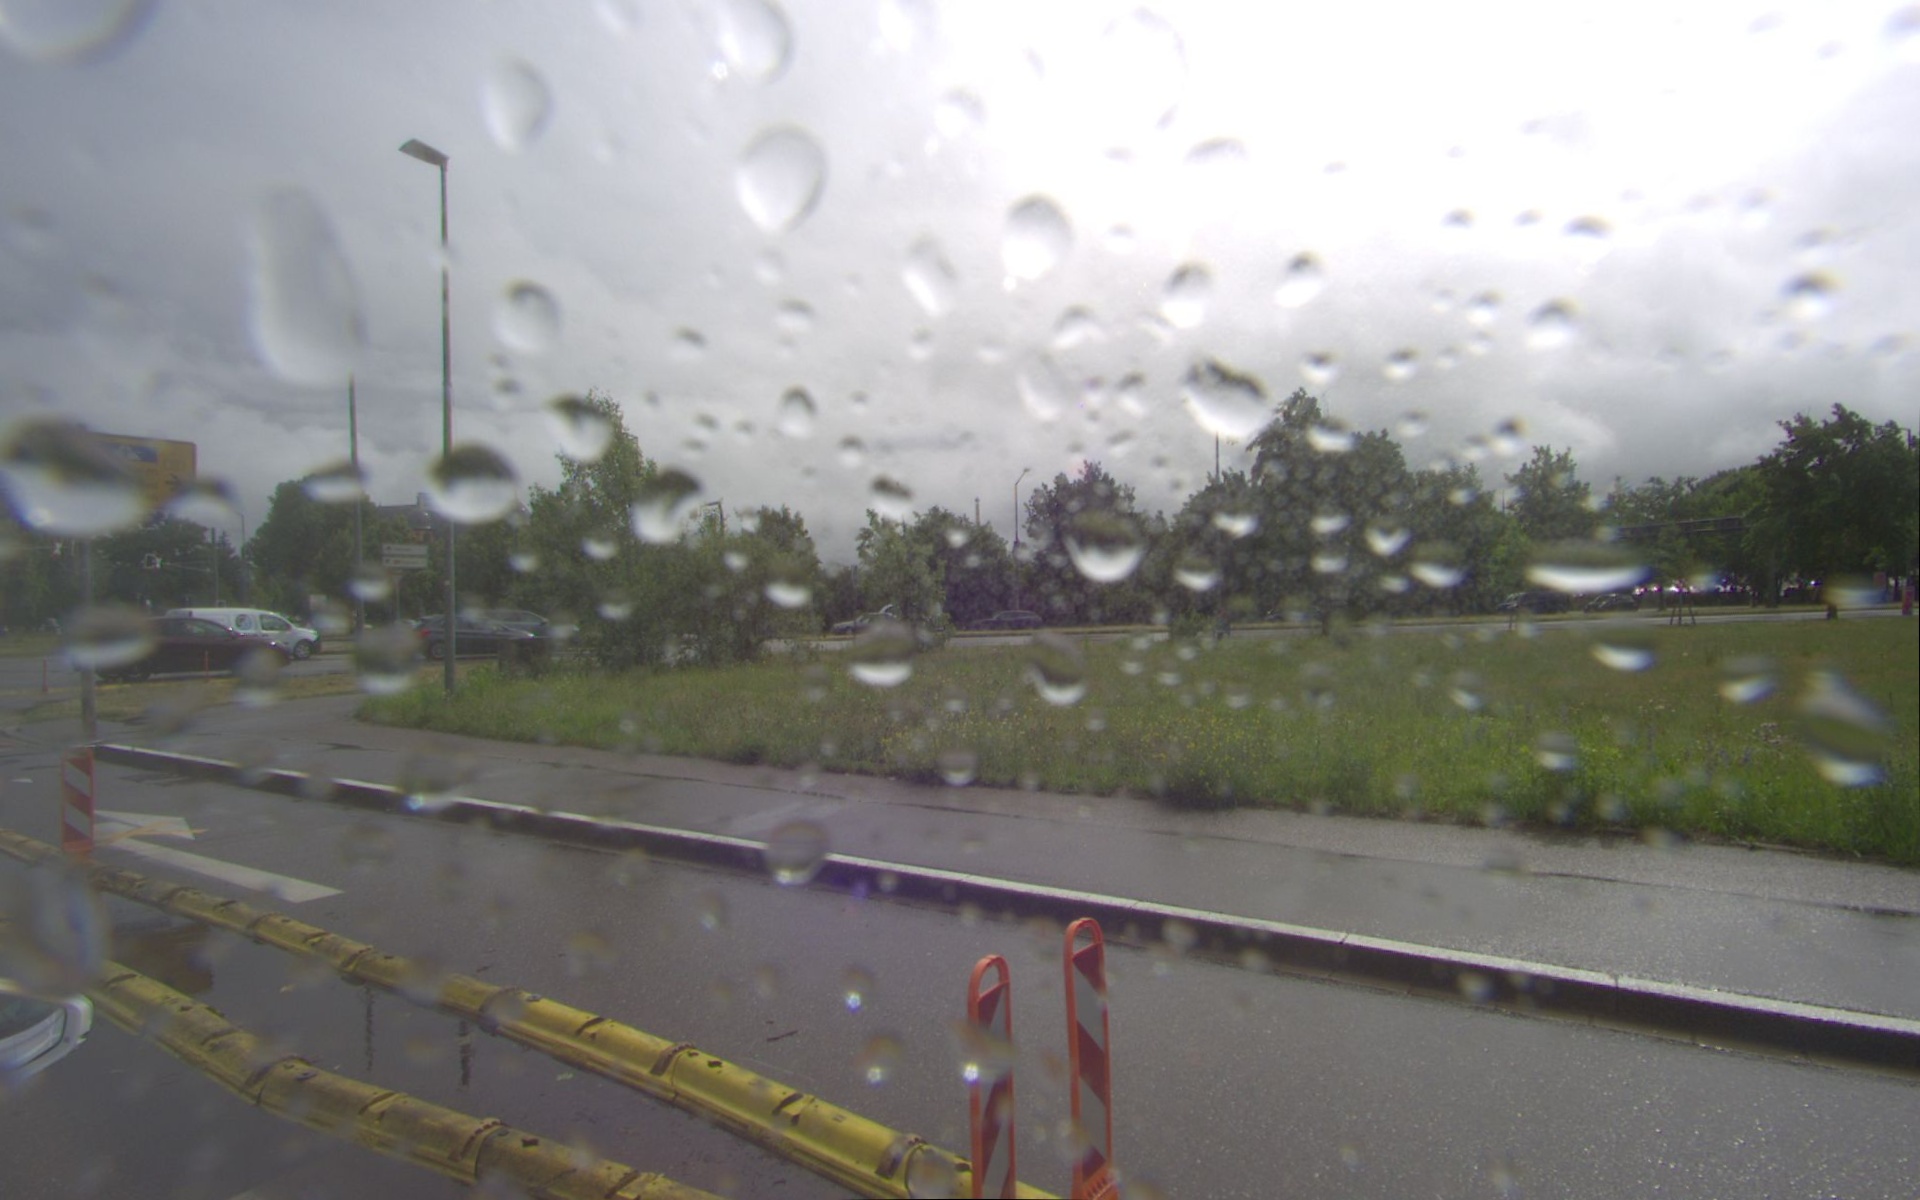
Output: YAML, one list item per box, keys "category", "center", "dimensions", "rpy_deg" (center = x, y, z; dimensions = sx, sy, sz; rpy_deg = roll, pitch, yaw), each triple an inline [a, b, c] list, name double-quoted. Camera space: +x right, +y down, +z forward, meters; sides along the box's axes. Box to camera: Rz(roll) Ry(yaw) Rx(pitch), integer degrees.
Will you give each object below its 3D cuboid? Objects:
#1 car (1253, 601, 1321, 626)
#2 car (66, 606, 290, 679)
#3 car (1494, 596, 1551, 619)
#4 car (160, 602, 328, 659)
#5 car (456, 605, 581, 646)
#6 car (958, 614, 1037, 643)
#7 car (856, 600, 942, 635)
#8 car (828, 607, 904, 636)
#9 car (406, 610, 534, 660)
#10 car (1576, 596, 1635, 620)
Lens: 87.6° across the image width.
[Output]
- category: "car"
  center: [21.953, 0.889, 67.238]
  dimensions: [4.157, 1.579, 1.541]
  rpy_deg: [-1, 0, -14]
- category: "car"
  center: [-20.854, 1.072, 26.877]
  dimensions: [1.973, 1.748, 4.329]
  rpy_deg: [-1, 0, 34]
- category: "car"
  center: [40.565, 0.550, 72.184]
  dimensions: [3.459, 1.579, 1.541]
  rpy_deg: [-1, 0, -14]
- category: "car"
  center: [-24.666, 1.008, 34.676]
  dimensions: [1.840, 1.833, 4.390]
  rpy_deg: [-1, -1, 25]
- category: "car"
  center: [-17.828, 1.014, 40.464]
  dimensions: [4.348, 1.568, 1.857]
  rpy_deg: [0, 0, -36]
- category: "car"
  center: [2.193, 1.672, 58.919]
  dimensions: [4.226, 1.581, 1.912]
  rpy_deg: [-1, 0, -14]
- category: "car"
  center: [-3.713, 1.049, 60.731]
  dimensions: [4.872, 1.944, 1.997]
  rpy_deg: [-1, 0, -16]
- category: "car"
  center: [-5.373, 1.203, 57.067]
  dimensions: [4.039, 1.581, 1.912]
  rpy_deg: [-1, 0, -14]
- category: "car"
  center: [-17.599, 1.228, 36.040]
  dimensions: [3.906, 1.666, 1.659]
  rpy_deg: [0, 0, -37]
- category: "car"
  center: [45.822, 0.558, 71.097]
  dimensions: [3.459, 1.579, 1.541]
  rpy_deg: [-1, 0, -14]
